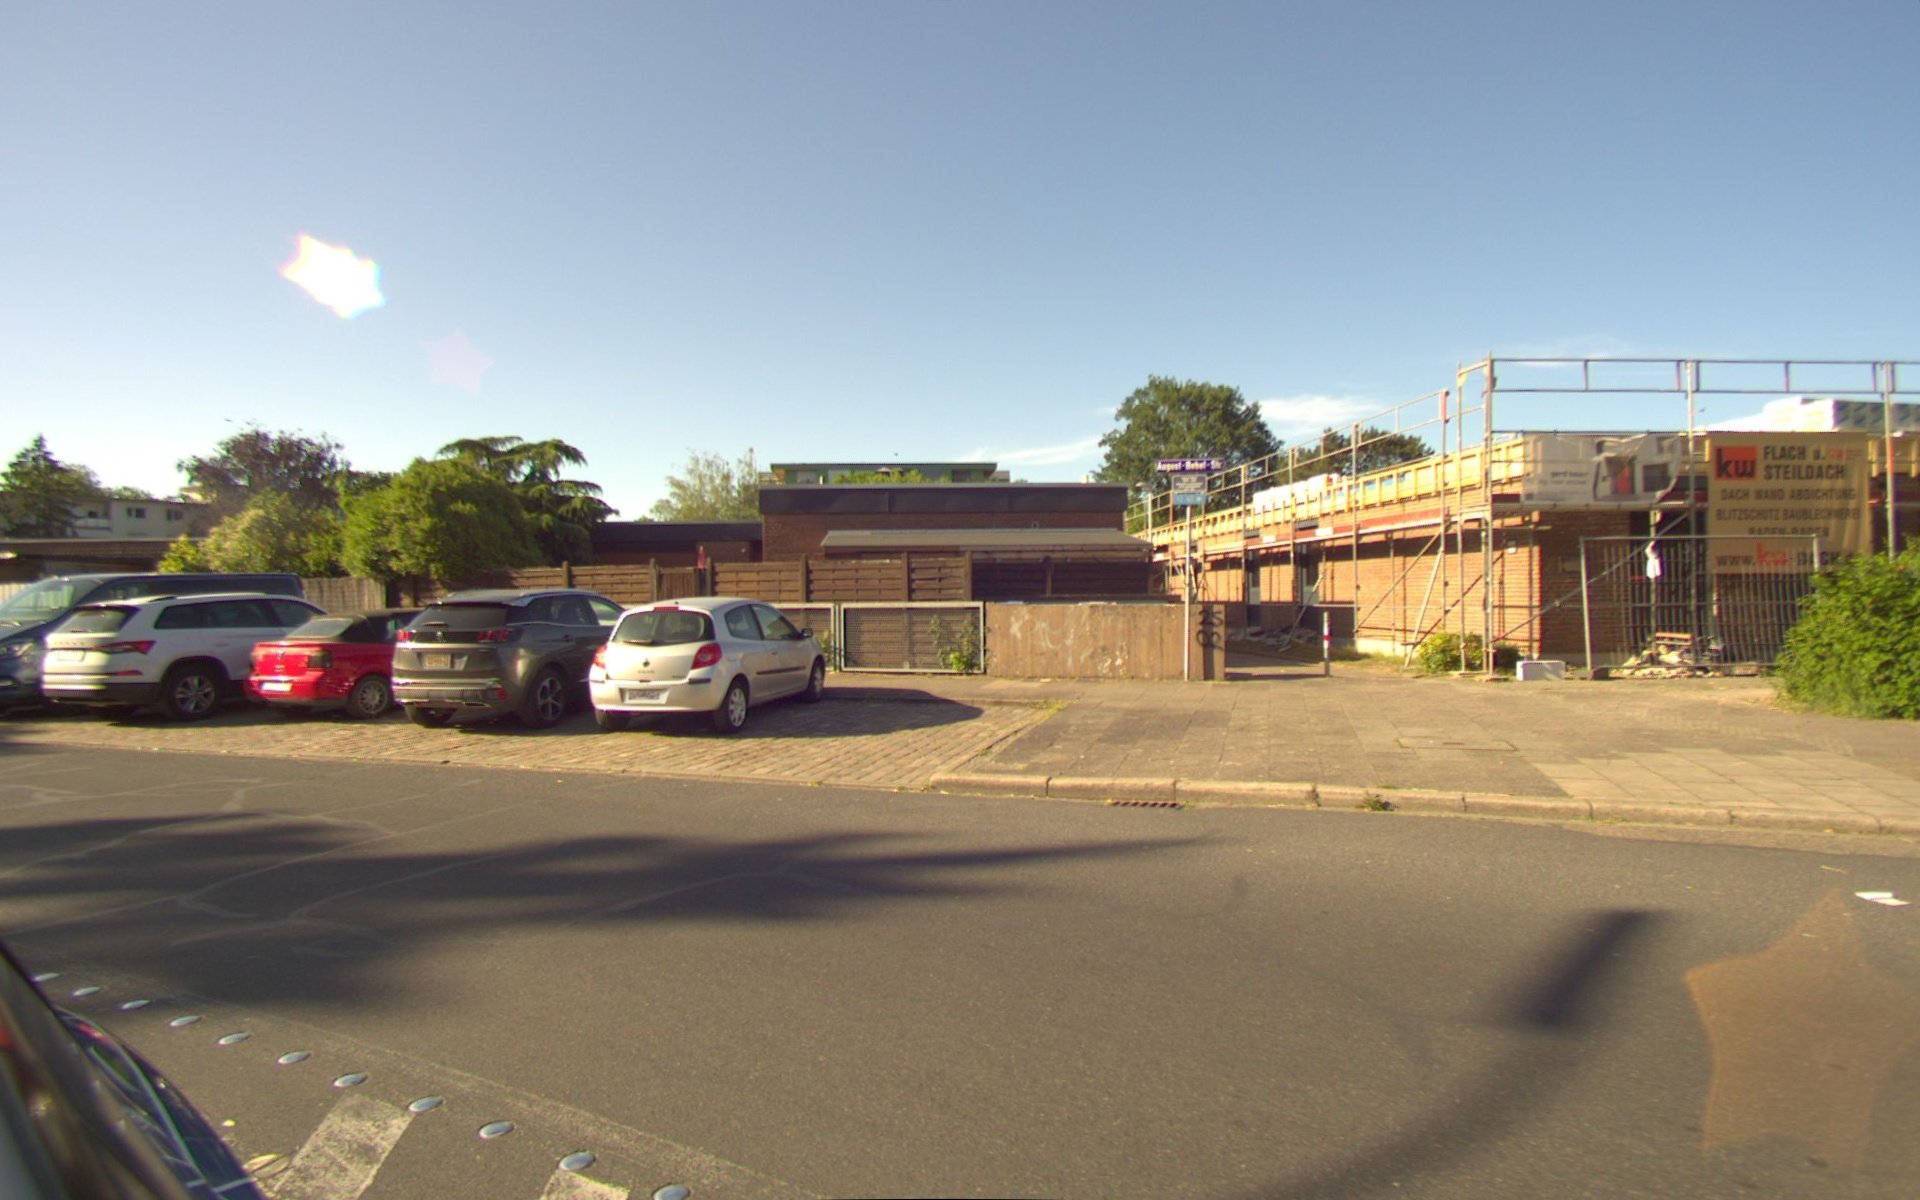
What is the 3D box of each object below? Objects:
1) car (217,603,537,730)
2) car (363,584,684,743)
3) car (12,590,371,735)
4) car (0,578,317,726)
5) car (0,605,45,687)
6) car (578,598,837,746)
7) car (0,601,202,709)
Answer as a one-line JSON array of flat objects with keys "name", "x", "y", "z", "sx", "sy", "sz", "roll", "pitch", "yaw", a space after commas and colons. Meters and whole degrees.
[{"name": "car", "x": -7.946, "y": 0.821, "z": 14.172, "sx": 1.720, "sy": 1.354, "sz": 3.601, "roll": -1, "pitch": 2, "yaw": 20}, {"name": "car", "x": -5.417, "y": 0.674, "z": 13.196, "sx": 1.801, "sy": 1.624, "sz": 3.984, "roll": -1, "pitch": 2, "yaw": 13}, {"name": "car", "x": -10.480, "y": 0.743, "z": 14.130, "sx": 1.720, "sy": 1.619, "sz": 3.601, "roll": -1, "pitch": 2, "yaw": 20}, {"name": "car", "x": -12.800, "y": 0.647, "z": 15.521, "sx": 1.982, "sy": 1.930, "sz": 4.862, "roll": -1, "pitch": 1, "yaw": 16}, {"name": "car", "x": -19.419, "y": 0.910, "z": 18.371, "sx": 1.774, "sy": 1.544, "sz": 3.805, "roll": -1, "pitch": 1, "yaw": 17}, {"name": "car", "x": -2.920, "y": 0.756, "z": 12.536, "sx": 1.618, "sy": 1.469, "sz": 3.683, "roll": -1, "pitch": 1, "yaw": 13}, {"name": "car", "x": -15.141, "y": 0.868, "z": 16.433, "sx": 1.912, "sy": 1.503, "sz": 4.122, "roll": -1, "pitch": 2, "yaw": 21}]
